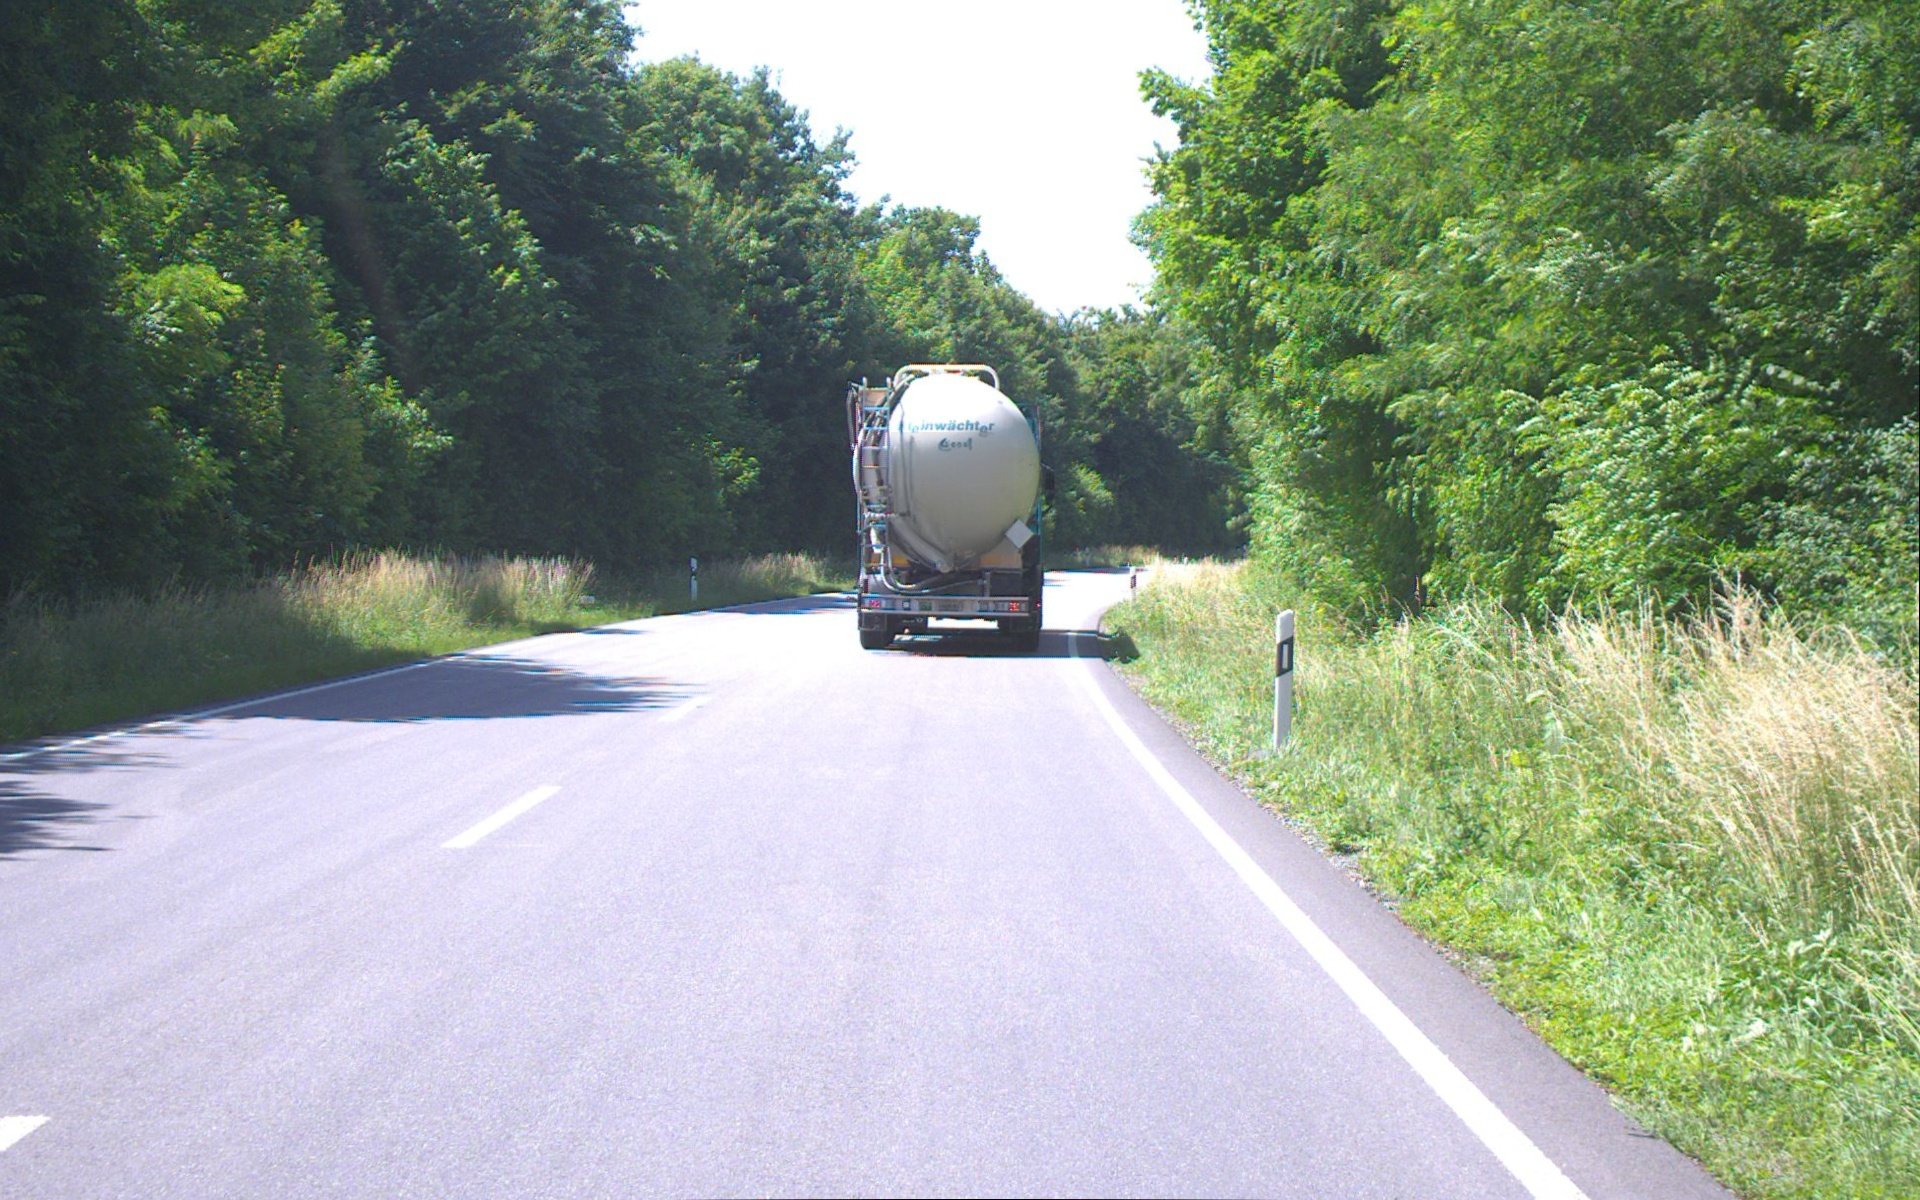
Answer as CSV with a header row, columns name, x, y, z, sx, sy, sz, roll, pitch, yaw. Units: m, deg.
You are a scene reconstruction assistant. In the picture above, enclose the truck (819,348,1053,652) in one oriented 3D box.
name,x,y,z,sx,sy,sz,roll,pitch,yaw
truck,-0.429,-1.484,53.333,3.049,3.984,15.638,1,1,-1
